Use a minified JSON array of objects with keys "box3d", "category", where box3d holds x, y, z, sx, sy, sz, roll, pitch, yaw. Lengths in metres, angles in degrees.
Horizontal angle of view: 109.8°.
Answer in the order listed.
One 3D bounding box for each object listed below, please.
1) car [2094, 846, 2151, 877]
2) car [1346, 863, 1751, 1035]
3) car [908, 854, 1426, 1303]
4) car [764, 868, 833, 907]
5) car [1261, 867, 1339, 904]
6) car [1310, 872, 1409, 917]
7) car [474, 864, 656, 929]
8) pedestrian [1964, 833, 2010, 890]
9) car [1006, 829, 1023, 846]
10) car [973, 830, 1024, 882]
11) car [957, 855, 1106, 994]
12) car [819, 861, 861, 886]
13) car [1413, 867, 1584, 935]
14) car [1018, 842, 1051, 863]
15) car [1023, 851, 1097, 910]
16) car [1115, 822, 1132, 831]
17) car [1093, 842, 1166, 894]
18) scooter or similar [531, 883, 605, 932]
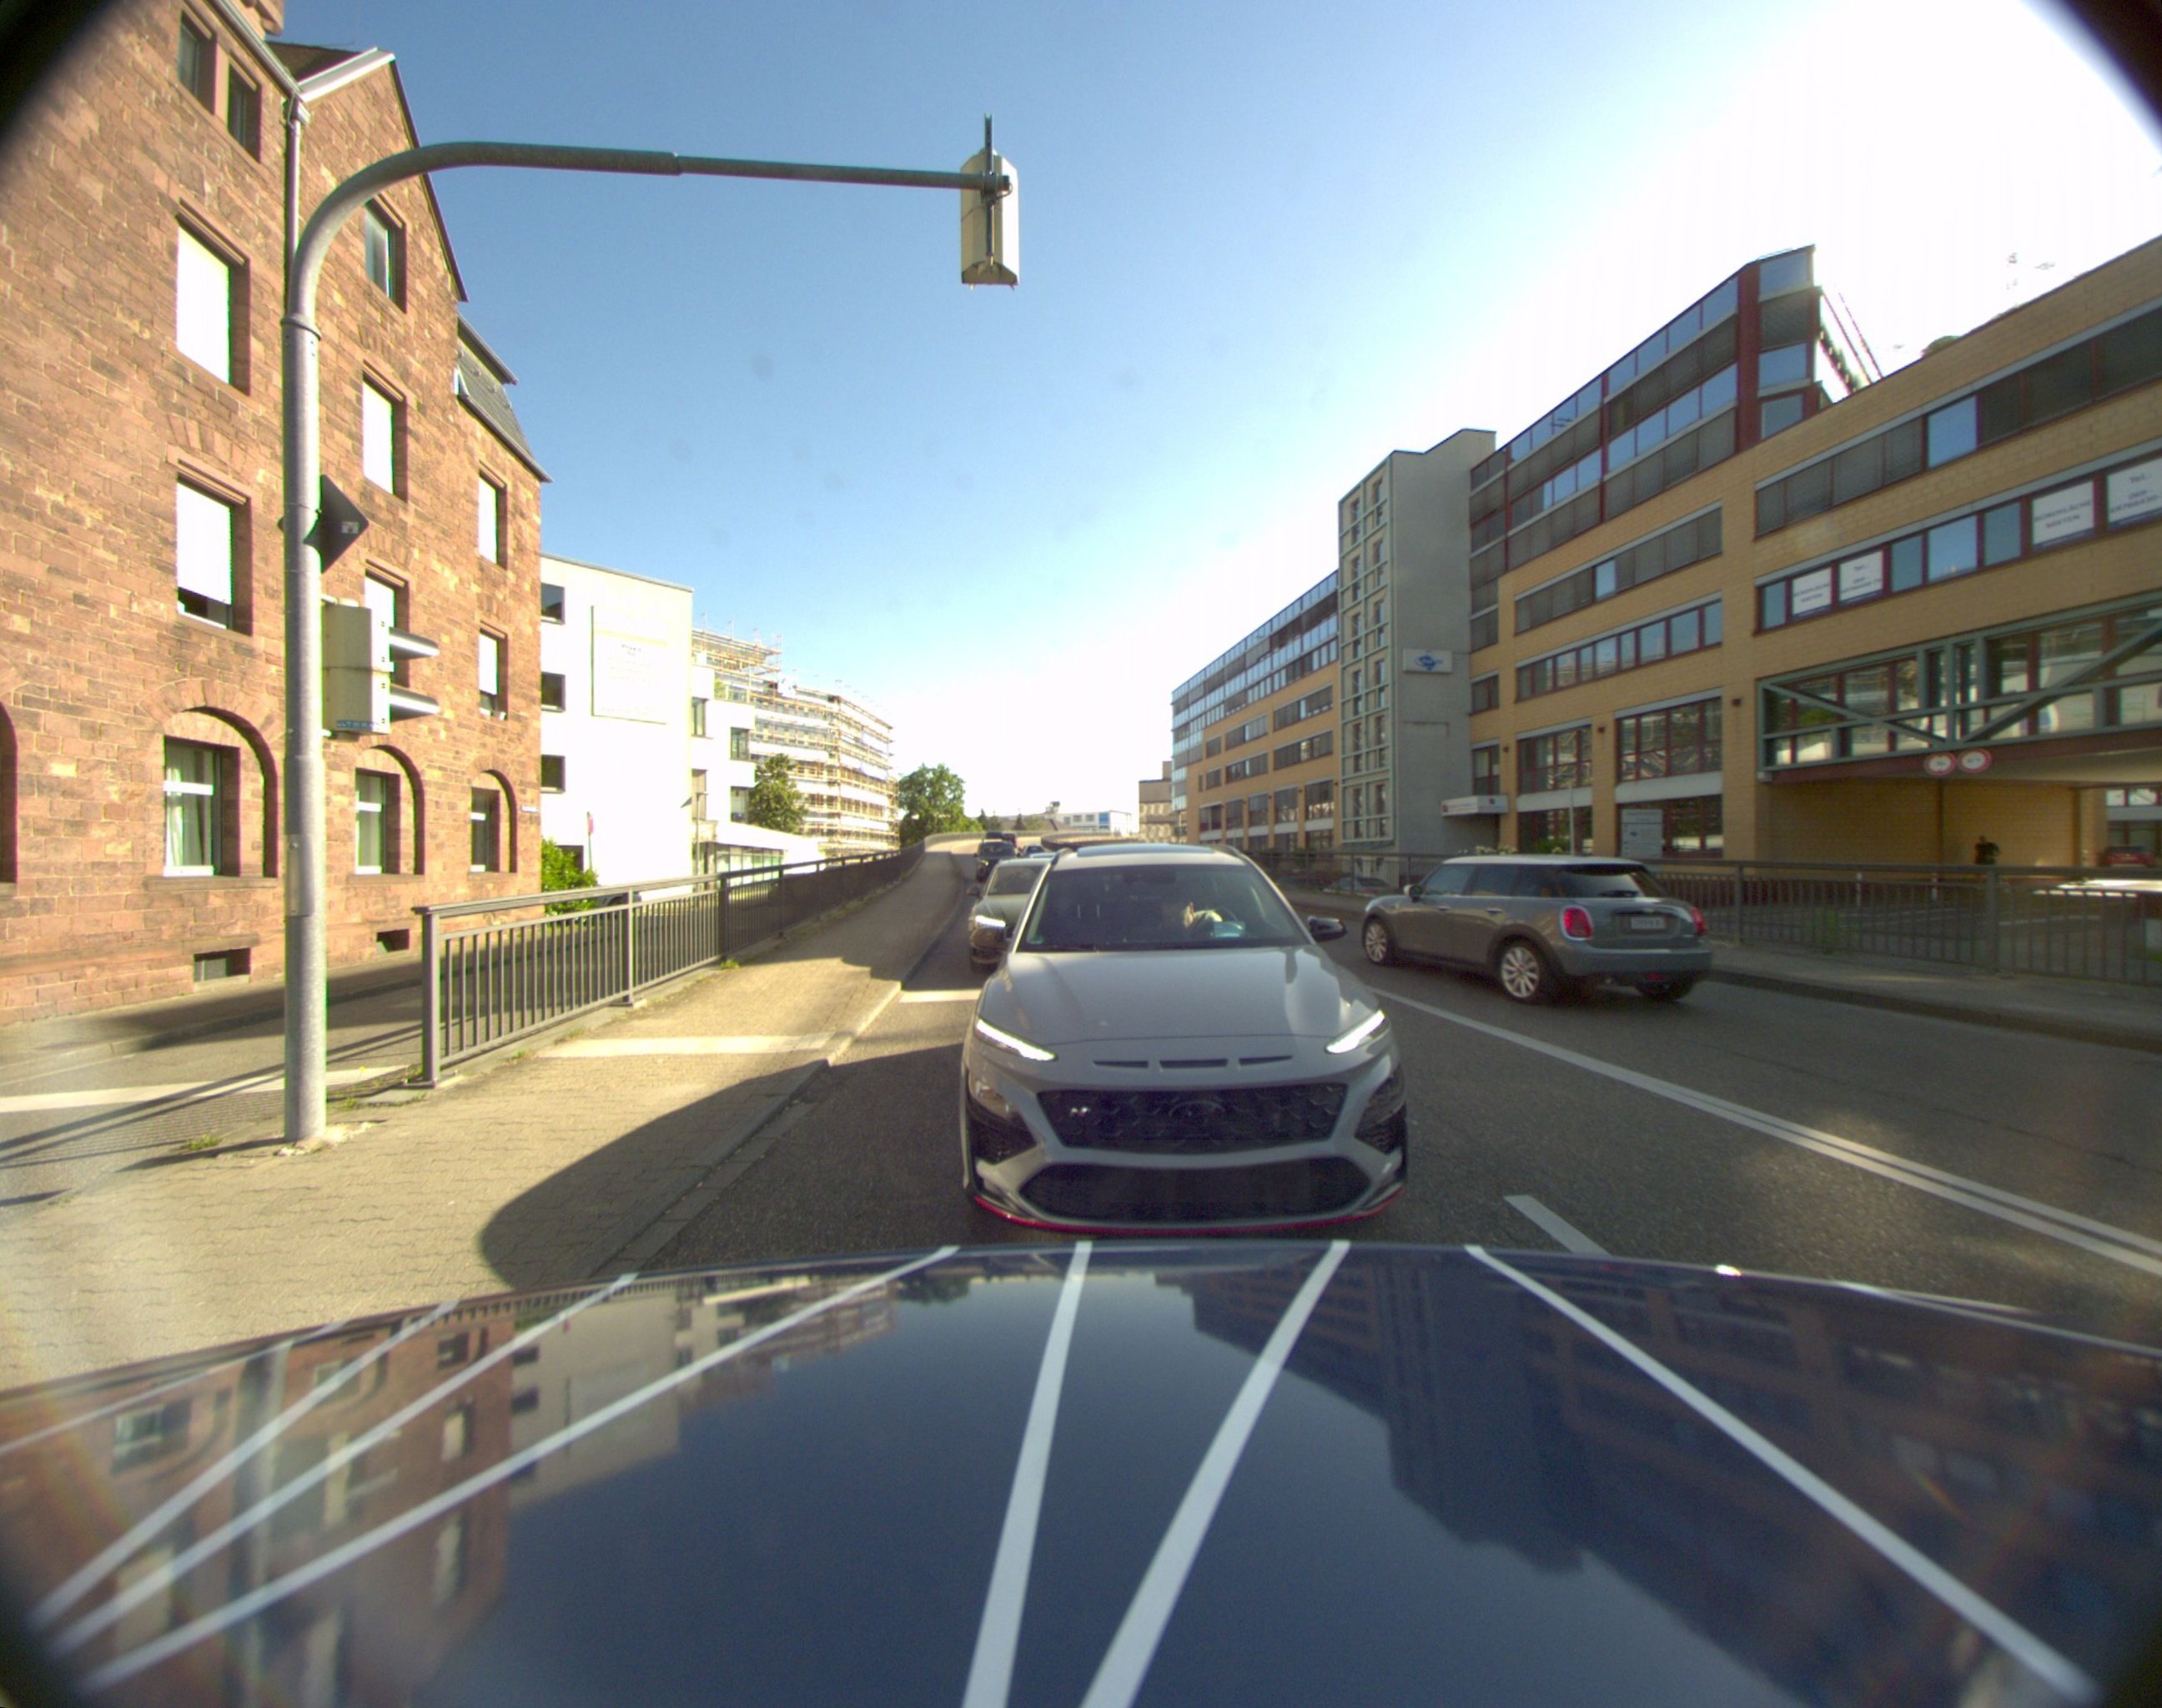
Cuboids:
[{"box3d":[53.696,0.396,39.204,3.159,1.564,1.639,0,-1,-38],"category":"car"},{"box3d":[4.760,0.846,8.502,1.692,1.448,3.910,1,-1,-9],"category":"car"},{"box3d":[0.350,0.821,4.858,1.849,1.561,4.220,-1,1,1],"category":"car"},{"box3d":[-13.047,1.499,35.420,1.850,1.422,4.678,-1,2,-6],"category":"car"},{"box3d":[10.268,1.428,35.961,1.826,1.594,4.353,0,0,-10],"category":"car"},{"box3d":[11.083,1.567,30.594,1.826,1.594,4.353,0,0,-10],"category":"car"},{"box3d":[-16.982,1.306,25.212,1.823,1.757,4.658,1,2,42],"category":"car"},{"box3d":[29.755,0.250,24.965,0.787,1.833,0.678,0,0,-12],"category":"pedestrian"},{"box3d":[-8.344,-2.056,95.013,1.999,1.924,4.850,0,0,-4],"category":"car"},{"box3d":[-3.827,0.016,34.727,1.911,2.201,4.592,-1,2,-11],"category":"car"},{"box3d":[-0.646,0.837,11.054,1.721,1.483,4.167,-1,2,-2],"category":"car"},{"box3d":[-15.529,1.246,49.167,1.850,1.526,3.997,0,0,-7],"category":"car"},{"box3d":[12.402,1.308,23.011,1.957,1.747,4.683,-1,0,-11],"category":"car"},{"box3d":[-3.411,-0.127,54.983,1.826,1.495,4.446,0,1,-11],"category":"car"},{"box3d":[-0.754,0.735,23.632,1.850,1.527,4.504,-1,2,-7],"category":"car"},{"box3d":[9.348,-5.944,166.188,1.811,1.791,5.130,0,0,27],"category":"car"},{"box3d":[1.678,0.439,27.845,1.839,1.644,4.624,2,1,-6],"category":"car"},{"box3d":[-14.276,1.477,21.197,1.463,1.212,0.784,-3,1,-14],"category":"scooter or similar"}]
